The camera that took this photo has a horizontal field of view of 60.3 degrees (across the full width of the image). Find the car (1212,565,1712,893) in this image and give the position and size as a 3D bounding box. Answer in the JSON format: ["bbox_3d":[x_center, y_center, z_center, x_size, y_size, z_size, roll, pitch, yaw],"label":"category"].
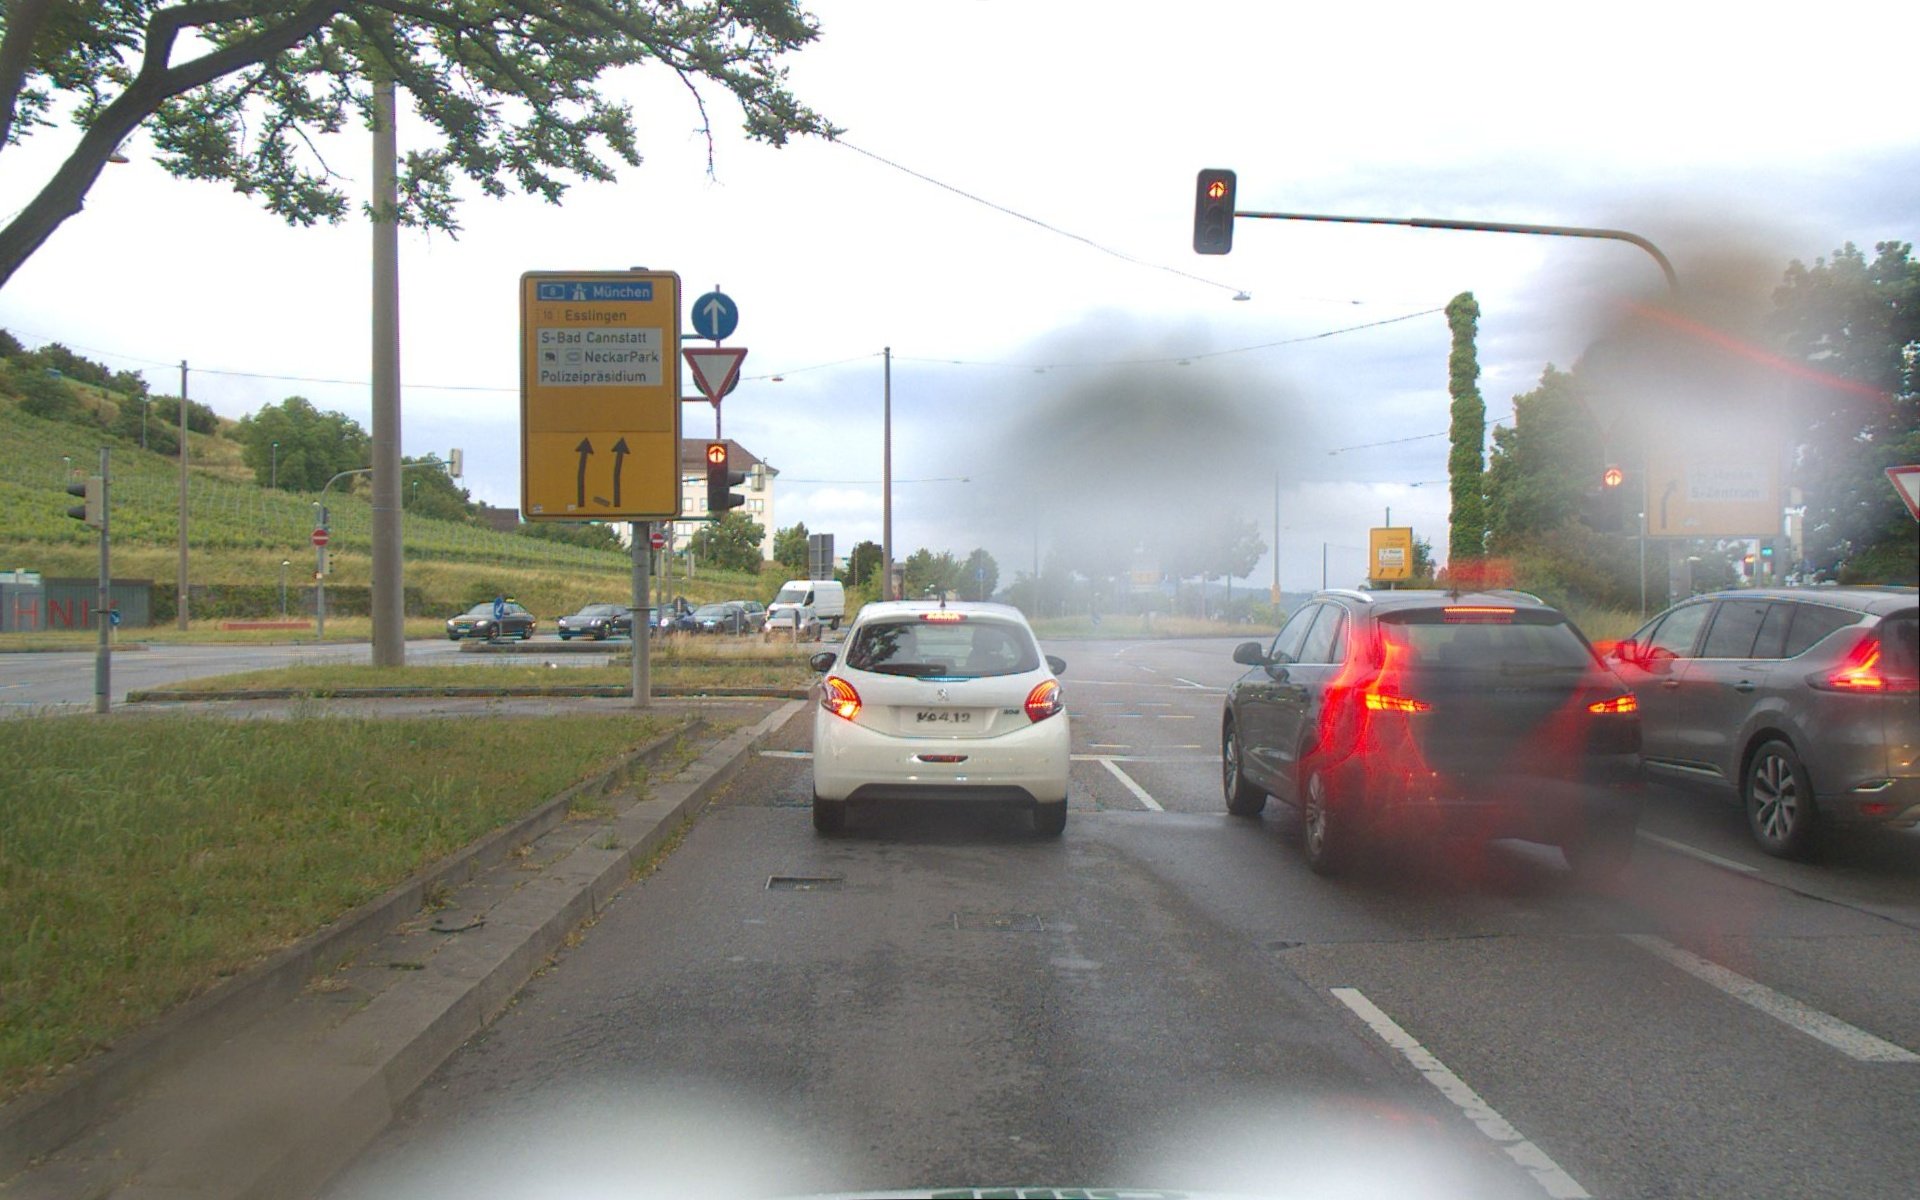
[{"bbox_3d":[2.891,0.682,10.526,1.846,1.623,4.112,2,-1,-1],"label":"car"}]

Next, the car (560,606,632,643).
[{"bbox_3d":[-14.871,1.038,67.713,1.749,1.420,3.884,1,-1,5],"label":"car"}]

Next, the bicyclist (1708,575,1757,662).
[{"bbox_3d":[14.725,0.355,31.513,0.793,1.612,1.021,1,-1,26],"label":"bicyclist"}]

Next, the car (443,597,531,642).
[{"bbox_3d":[-18.839,0.783,66.034,1.791,1.652,4.569,2,-1,5],"label":"car"}]

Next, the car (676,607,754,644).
[{"bbox_3d":[-10.588,1.118,71.854,1.860,1.515,4.896,1,-1,10],"label":"car"}]

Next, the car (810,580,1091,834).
[{"bbox_3d":[-0.092,0.671,12.025,1.683,1.515,3.999,1,-1,-1],"label":"car"}]

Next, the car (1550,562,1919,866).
[{"bbox_3d":[5.935,0.629,11.597,1.827,1.703,4.564,1,1,-2],"label":"car"}]

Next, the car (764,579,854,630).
[{"bbox_3d":[-8.116,0.274,89.588,1.954,2.604,6.165,1,-1,25],"label":"car"}]

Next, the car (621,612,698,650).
[{"bbox_3d":[-11.907,1.242,65.794,1.748,1.420,3.885,1,-1,9],"label":"car"}]

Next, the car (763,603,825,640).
[{"bbox_3d":[-6.662,0.876,66.728,1.738,1.450,4.376,0,-1,4],"label":"car"}]
